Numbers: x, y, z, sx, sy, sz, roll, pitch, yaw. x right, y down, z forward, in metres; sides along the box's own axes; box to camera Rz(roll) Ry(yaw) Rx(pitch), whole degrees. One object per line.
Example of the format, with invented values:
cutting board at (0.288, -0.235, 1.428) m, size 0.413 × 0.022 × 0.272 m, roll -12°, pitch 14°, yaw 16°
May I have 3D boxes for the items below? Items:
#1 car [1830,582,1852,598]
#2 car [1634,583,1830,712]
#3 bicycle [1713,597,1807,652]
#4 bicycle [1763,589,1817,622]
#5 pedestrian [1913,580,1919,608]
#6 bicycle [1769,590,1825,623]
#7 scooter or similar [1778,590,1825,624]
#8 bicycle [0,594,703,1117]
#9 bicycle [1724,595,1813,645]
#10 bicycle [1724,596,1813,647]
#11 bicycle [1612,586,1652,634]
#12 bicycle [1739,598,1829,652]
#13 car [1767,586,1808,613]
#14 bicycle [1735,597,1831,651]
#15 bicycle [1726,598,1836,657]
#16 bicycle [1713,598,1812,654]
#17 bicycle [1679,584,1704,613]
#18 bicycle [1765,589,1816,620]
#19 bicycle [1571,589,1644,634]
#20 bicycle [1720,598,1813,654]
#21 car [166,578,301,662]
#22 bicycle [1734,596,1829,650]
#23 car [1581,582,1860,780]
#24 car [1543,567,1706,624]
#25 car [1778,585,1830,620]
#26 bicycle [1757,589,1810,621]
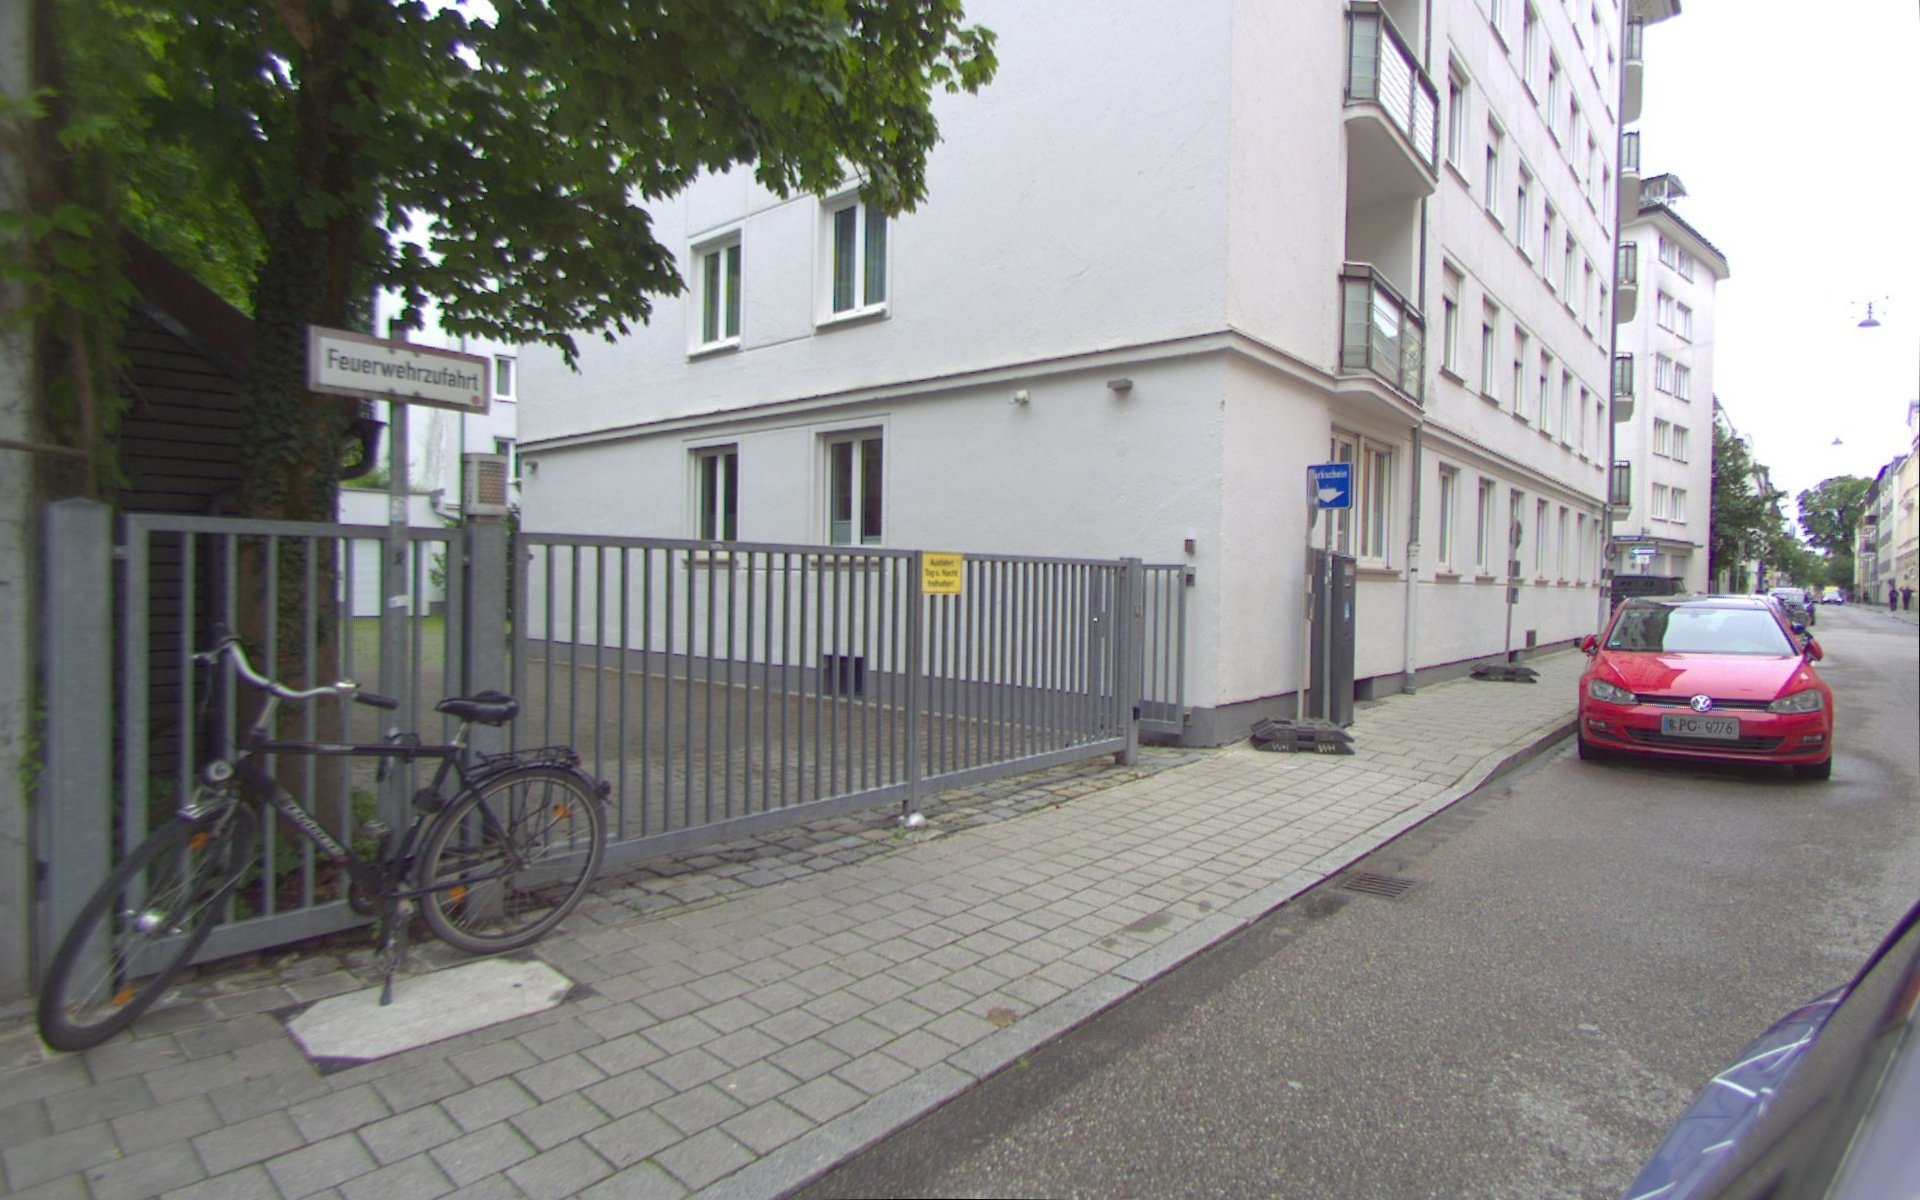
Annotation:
car at (104.785, -1.212, 120.397) m, size 1.922 × 1.827 × 4.380 m, roll 2°, pitch 1°, yaw 40°
car at (10.533, 0.515, 13.682) m, size 1.793 × 1.457 × 4.317 m, roll 0°, pitch 0°, yaw 42°
bicycle at (17.501, 0.518, 22.171) m, size 0.354 × 1.056 × 1.521 m, roll 0°, pitch 4°, yaw -40°
bicycle at (32.957, 0.218, 40.214) m, size 1.604 × 1.229 × 0.521 m, roll 3°, pitch 2°, yaw 44°
pedestrian at (62.937, -0.364, 66.285) m, size 0.697 × 1.815 × 0.752 m, roll 2°, pitch 2°, yaw 41°
bicycle at (32.767, 0.235, 39.630) m, size 1.604 × 1.229 × 0.521 m, roll 3°, pitch 2°, yaw 44°
scooter or similar at (31.977, 0.261, 38.452) m, size 1.338 × 1.229 × 0.339 m, roll 3°, pitch 2°, yaw 44°
bicycle at (-1.842, 0.640, 3.315) m, size 0.707 × 1.213 × 1.806 m, roll 2°, pitch -1°, yaw 41°
bicycle at (20.122, 0.486, 25.211) m, size 1.693 × 1.175 × 0.309 m, roll 2°, pitch 1°, yaw 41°
bicycle at (19.919, 0.510, 24.957) m, size 1.693 × 1.175 × 0.309 m, roll 2°, pitch 1°, yaw 41°
bicycle at (18.329, 0.247, 27.639) m, size 0.393 × 1.219 × 1.499 m, roll 3°, pitch 3°, yaw 16°
bicycle at (18.020, 0.538, 22.154) m, size 0.354 × 1.056 × 1.442 m, roll 0°, pitch 4°, yaw -40°
car at (45.837, -0.044, 56.025) m, size 1.648 × 1.416 × 3.941 m, roll 2°, pitch 2°, yaw 41°
bicycle at (19.042, 0.533, 23.447) m, size 1.693 × 1.175 × 0.373 m, roll 2°, pitch 2°, yaw 41°
bicycle at (16.915, 0.555, 20.874) m, size 1.702 × 1.056 × 0.354 m, roll 5°, pitch 4°, yaw 42°
bicycle at (17.193, 0.530, 21.718) m, size 0.317 × 1.056 × 1.591 m, roll 0°, pitch 4°, yaw -40°
bicycle at (31.716, -0.054, 43.851) m, size 1.581 × 1.229 × 0.528 m, roll 0°, pitch 2°, yaw -42°
bicycle at (34.846, 0.174, 42.462) m, size 1.604 × 1.229 × 0.521 m, roll 3°, pitch 2°, yaw 44°
bicycle at (16.914, 0.286, 26.459) m, size 1.485 × 1.056 × 0.396 m, roll 4°, pitch 3°, yaw 23°
bicycle at (17.027, 0.537, 21.389) m, size 0.324 × 1.056 × 1.439 m, roll 0°, pitch 4°, yaw -40°
car at (-12.609, 0.269, 17.466) m, size 1.666 × 1.250 × 3.996 m, roll 0°, pitch 1°, yaw -39°
bicycle at (19.266, 0.526, 23.773) m, size 1.693 × 1.175 × 0.373 m, roll 2°, pitch 2°, yaw 41°
car at (7.131, 0.578, 9.744) m, size 1.755 × 1.465 × 4.245 m, roll 0°, pitch 0°, yaw 35°
car at (24.409, -0.202, 37.309) m, size 1.900 × 1.914 × 4.677 m, roll 1°, pitch 1°, yaw -41°
car at (36.981, 0.089, 44.317) m, size 1.648 × 1.416 × 3.941 m, roll 2°, pitch 2°, yaw 41°
bicycle at (33.163, 0.202, 40.772) m, size 1.604 × 1.229 × 0.521 m, roll 3°, pitch 2°, yaw 44°
